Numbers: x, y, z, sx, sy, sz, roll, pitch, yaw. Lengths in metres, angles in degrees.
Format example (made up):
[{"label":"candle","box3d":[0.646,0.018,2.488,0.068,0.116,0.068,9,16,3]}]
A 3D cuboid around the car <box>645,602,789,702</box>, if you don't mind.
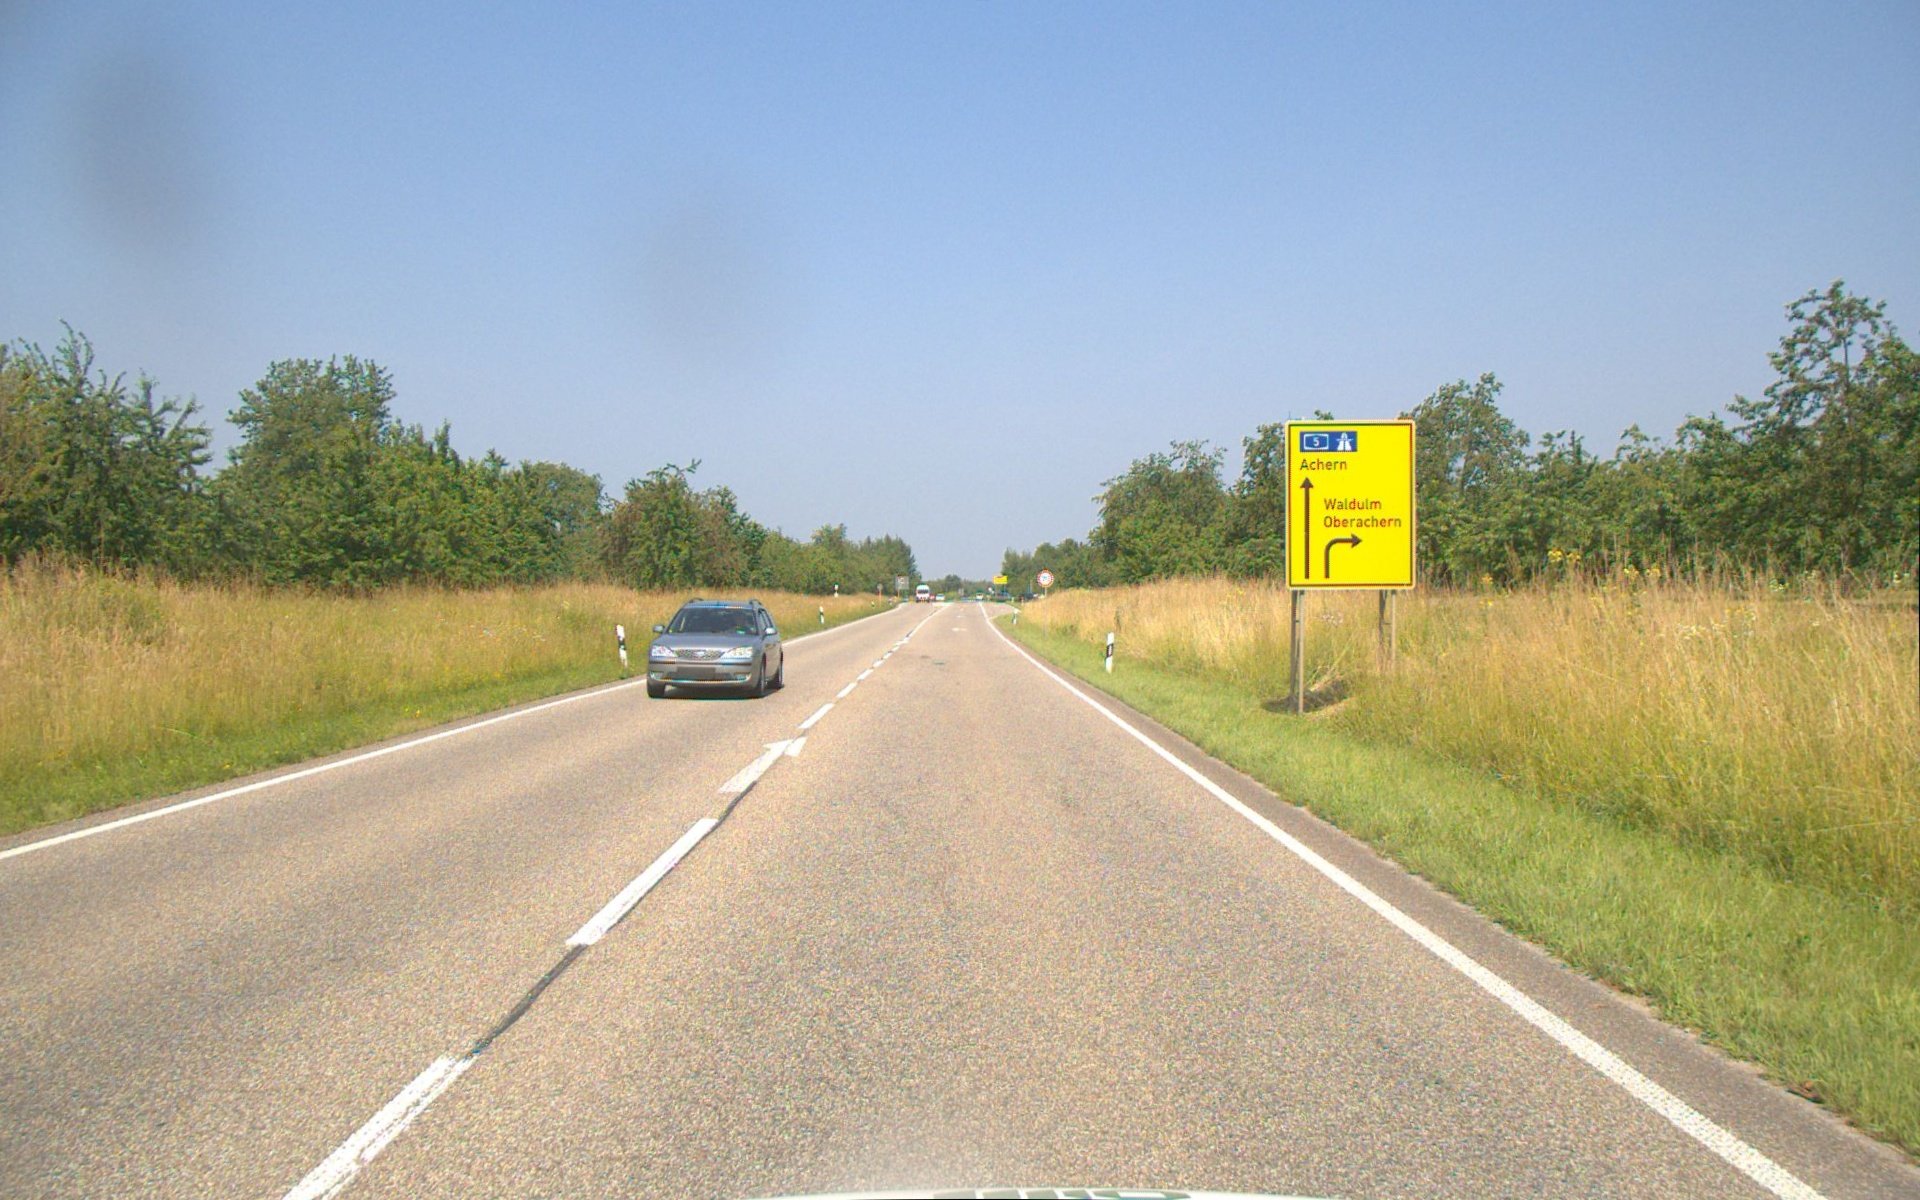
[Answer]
[{"label":"car","box3d":[-3.754,0.752,26.283,1.656,1.433,4.893,0,0,-1]}]
